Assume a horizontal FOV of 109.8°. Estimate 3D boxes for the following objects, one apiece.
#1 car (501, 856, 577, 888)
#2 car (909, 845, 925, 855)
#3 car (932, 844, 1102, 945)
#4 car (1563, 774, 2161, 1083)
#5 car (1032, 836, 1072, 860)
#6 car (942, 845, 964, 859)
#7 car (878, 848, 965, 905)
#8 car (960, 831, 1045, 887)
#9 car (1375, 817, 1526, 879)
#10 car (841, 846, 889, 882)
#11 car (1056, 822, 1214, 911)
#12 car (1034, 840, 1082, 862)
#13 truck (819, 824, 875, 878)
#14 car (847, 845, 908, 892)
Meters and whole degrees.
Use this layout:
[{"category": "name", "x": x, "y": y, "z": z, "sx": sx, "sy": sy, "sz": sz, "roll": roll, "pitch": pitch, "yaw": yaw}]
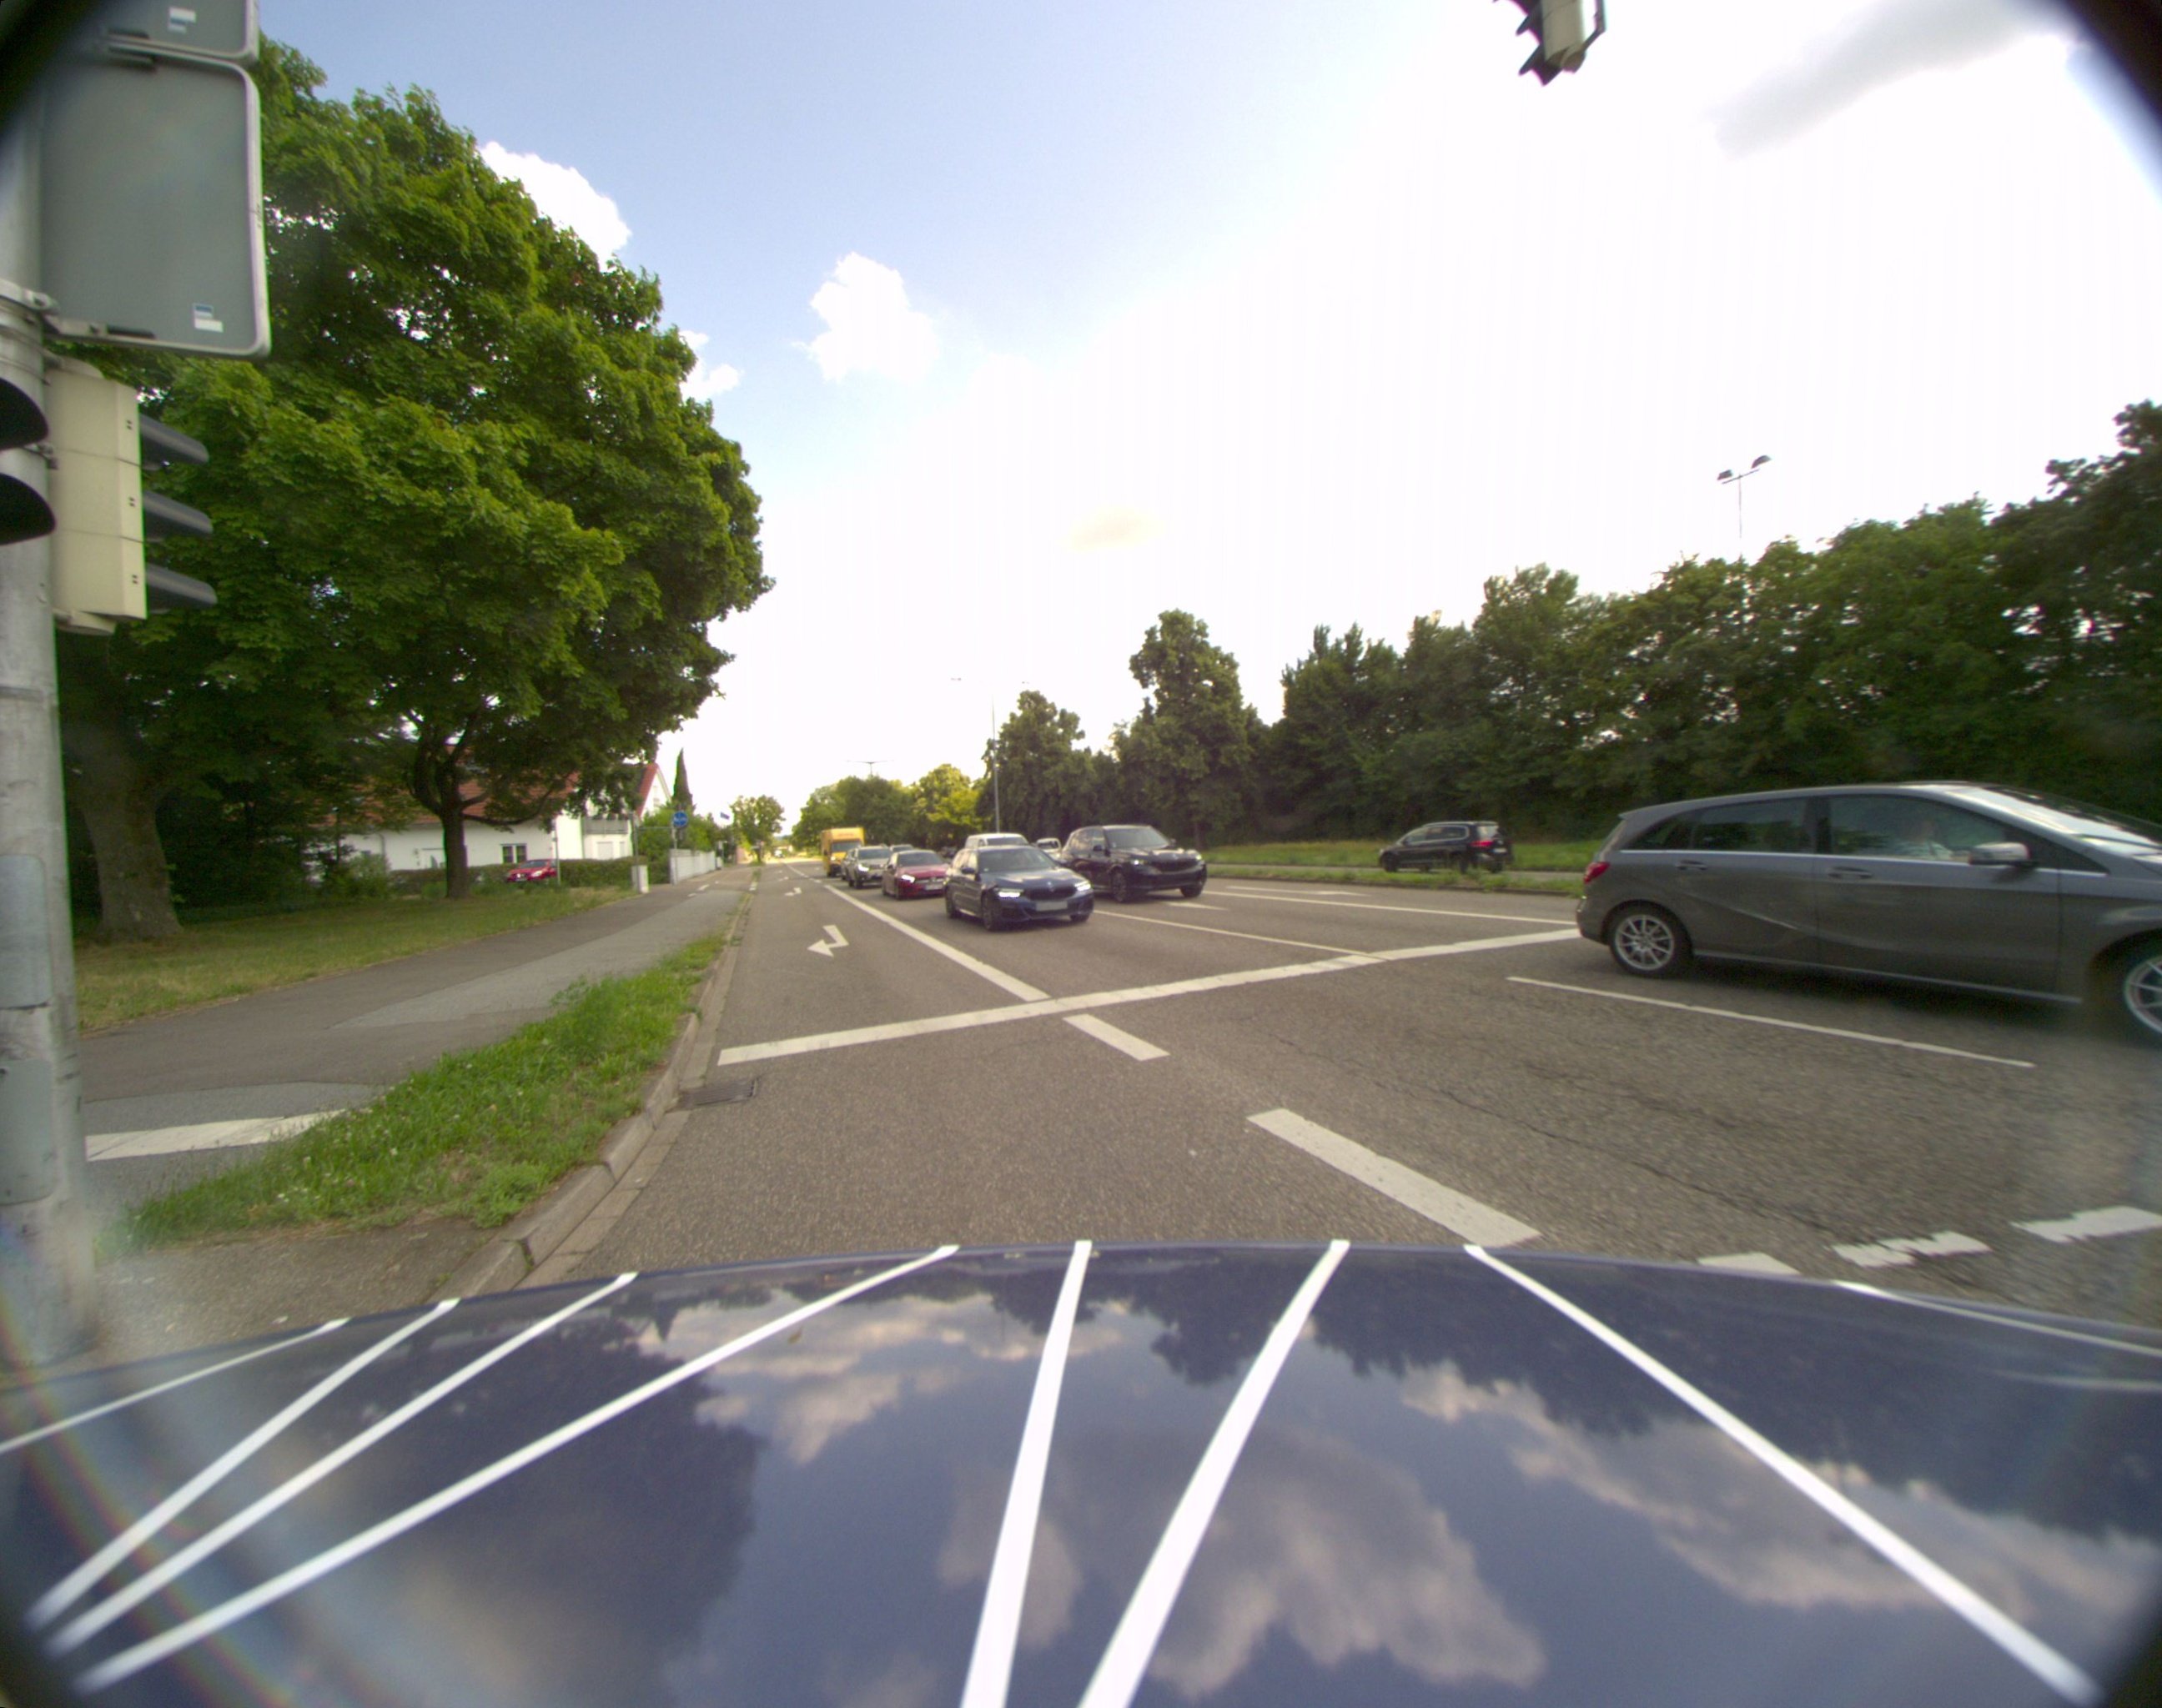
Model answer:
[{"category": "car", "x": -29.326, "y": 0.928, "z": 41.270, "sx": 1.682, "sy": 1.522, "sz": 4.388, "roll": -3, "pitch": 1, "yaw": -12}, {"category": "car", "x": -24.116, "y": -0.556, "z": 111.681, "sx": 1.467, "sy": 1.363, "sz": 3.651, "roll": -3, "pitch": 1, "yaw": -24}, {"category": "car", "x": -1.456, "y": 0.620, "z": 14.807, "sx": 1.804, "sy": 1.489, "sz": 4.863, "roll": -5, "pitch": 3, "yaw": -22}, {"category": "car", "x": 6.029, "y": 0.338, "z": 5.228, "sx": 1.706, "sy": 1.610, "sz": 4.351, "roll": -4, "pitch": 2, "yaw": -22}, {"category": "car", "x": -2.270, "y": -0.492, "z": 59.397, "sx": 1.678, "sy": 1.784, "sz": 4.245, "roll": -4, "pitch": 2, "yaw": -22}, {"category": "car", "x": -15.196, "y": -0.257, "z": 90.279, "sx": 1.533, "sy": 1.450, "sz": 4.198, "roll": -3, "pitch": 2, "yaw": -24}, {"category": "car", "x": -5.009, "y": 0.601, "z": 23.357, "sx": 1.730, "sy": 1.454, "sz": 4.526, "roll": -5, "pitch": 3, "yaw": -22}, {"category": "car", "x": -3.007, "y": 0.130, "z": 28.212, "sx": 1.773, "sy": 1.788, "sz": 4.721, "roll": -4, "pitch": 3, "yaw": -22}, {"category": "car", "x": 11.730, "y": -0.216, "z": 24.453, "sx": 1.678, "sy": 1.732, "sz": 4.301, "roll": -4, "pitch": 2, "yaw": -22}, {"category": "car", "x": -10.686, "y": 0.424, "z": 37.369, "sx": 1.730, "sy": 1.522, "sz": 3.886, "roll": -5, "pitch": 3, "yaw": -22}, {"category": "car", "x": 1.110, "y": 0.216, "z": 18.031, "sx": 1.820, "sy": 1.736, "sz": 4.540, "roll": -4, "pitch": 3, "yaw": -22}, {"category": "car", "x": -1.471, "y": -0.203, "z": 47.005, "sx": 1.760, "sy": 1.301, "sz": 3.686, "roll": -2, "pitch": 1, "yaw": -22}, {"category": "truck", "x": -14.272, "y": -0.212, "z": 46.030, "sx": 2.367, "sy": 2.844, "sz": 6.952, "roll": -5, "pitch": 2, "yaw": -22}, {"category": "car", "x": -8.152, "y": 0.499, "z": 30.241, "sx": 1.730, "sy": 1.603, "sz": 4.167, "roll": -5, "pitch": 3, "yaw": -22}]
